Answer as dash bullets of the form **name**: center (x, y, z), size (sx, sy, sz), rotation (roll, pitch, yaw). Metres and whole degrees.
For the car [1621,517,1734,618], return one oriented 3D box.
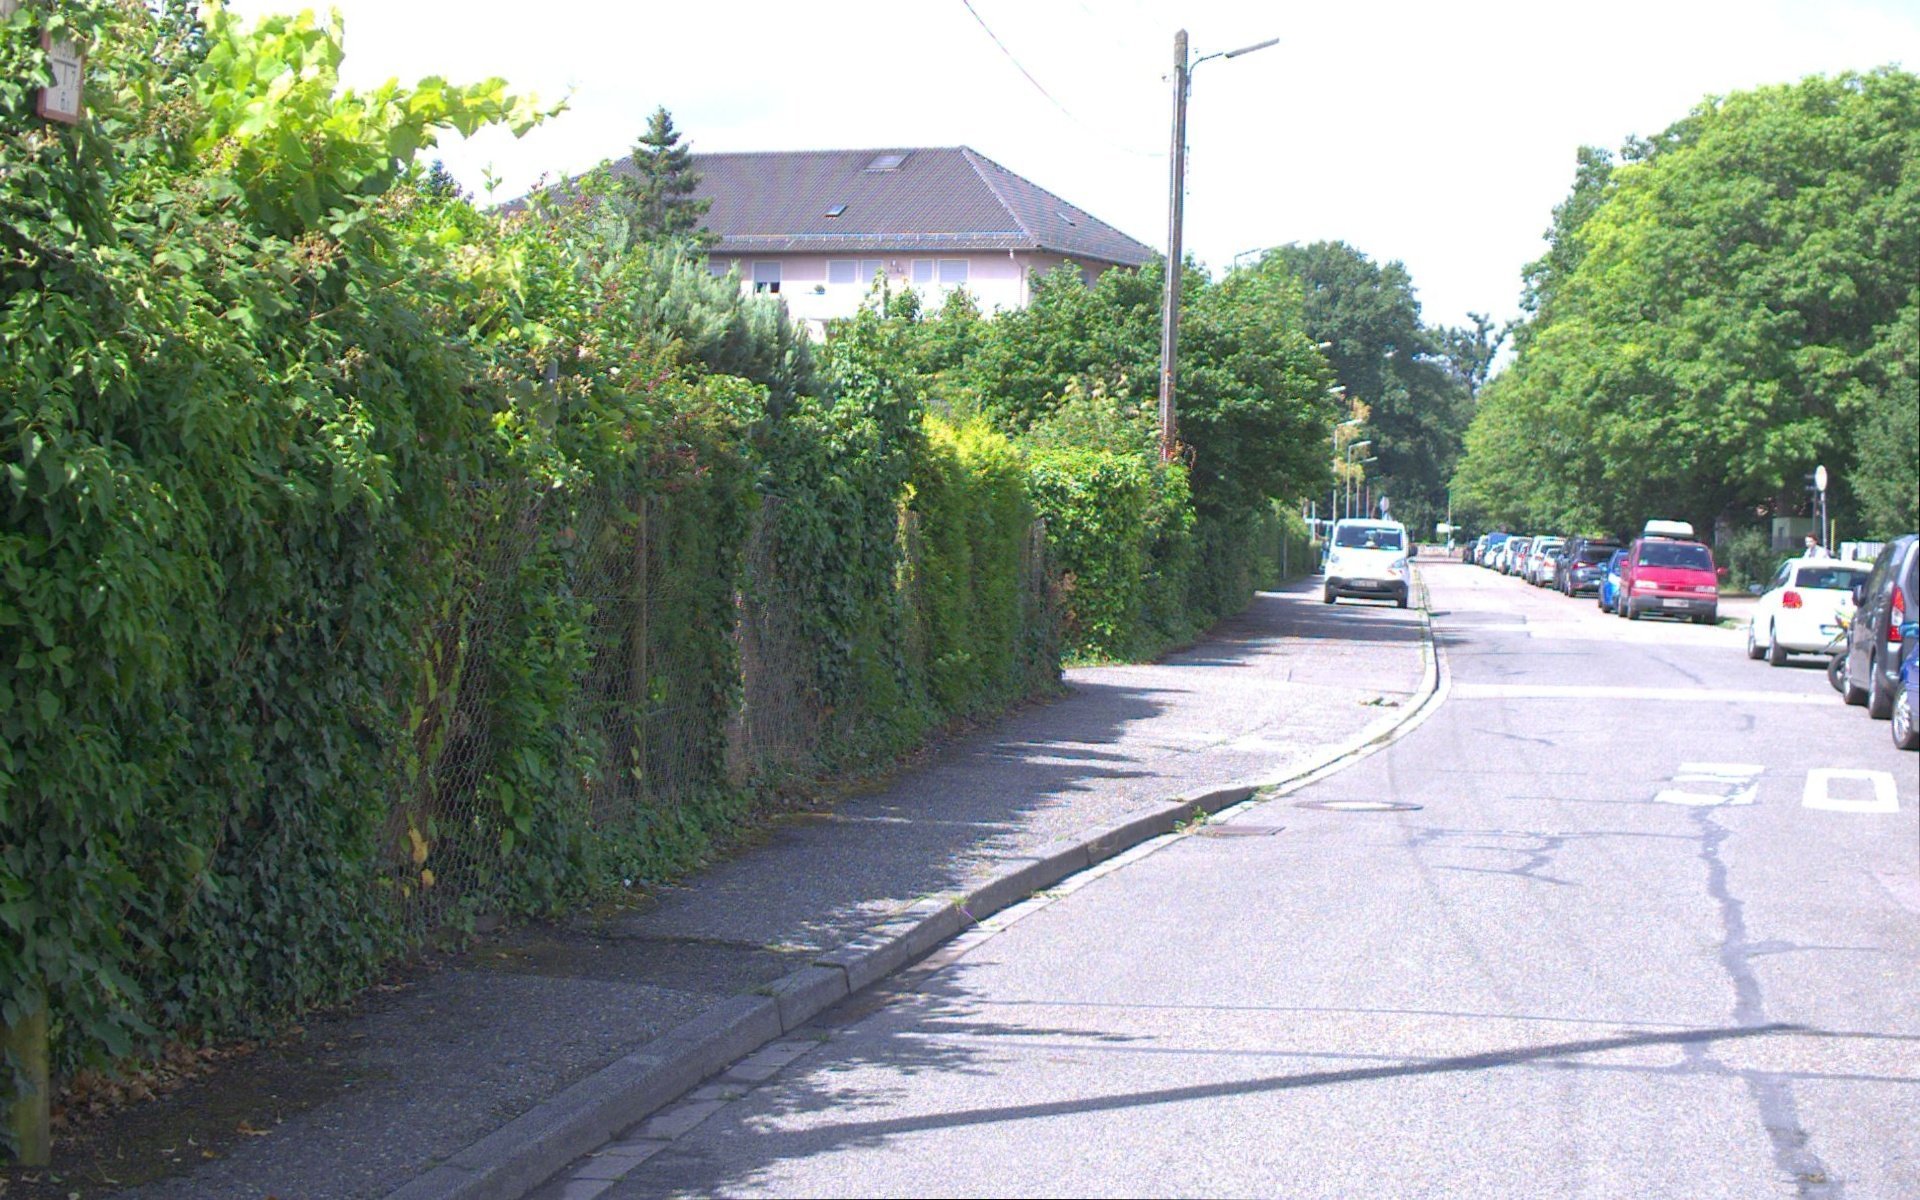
- **car**: center (14.906, -0.695, 71.577), size (2.059, 1.919, 4.539), rotation (4, 1, 10)

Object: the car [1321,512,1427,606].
- **car**: center (8.745, -0.868, 72.405), size (1.903, 1.808, 3.998), rotation (4, 1, 10)

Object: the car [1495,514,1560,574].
- **car**: center (20.025, -1.971, 121.202), size (2.059, 1.955, 4.539), rotation (4, 1, 10)

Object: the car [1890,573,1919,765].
- **car**: center (8.105, 0.574, 25.869), size (1.664, 1.430, 3.540), rotation (4, 1, 9)

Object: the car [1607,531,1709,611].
- **car**: center (15.866, -0.668, 78.306), size (2.059, 1.646, 4.539), rotation (4, 1, 10)

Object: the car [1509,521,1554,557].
- **car**: center (27.470, -2.921, 165.264), size (1.853, 1.612, 3.998), rotation (4, 1, 12)

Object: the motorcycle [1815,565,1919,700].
- **motorcycle**: center (9.963, 0.352, 36.789), size (1.428, 1.357, 0.869), rotation (4, 1, 9)

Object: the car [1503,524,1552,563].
- **car**: center (24.834, -2.478, 150.378), size (1.853, 1.612, 3.998), rotation (2, 1, 12)

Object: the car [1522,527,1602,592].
- **car**: center (16.800, -1.129, 95.956), size (2.059, 1.646, 4.539), rotation (4, 1, 10)

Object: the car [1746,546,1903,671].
- **car**: center (11.567, 0.075, 46.196), size (1.679, 1.514, 3.998), rotation (4, 1, 10)

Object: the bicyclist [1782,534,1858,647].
- **bicyclist**: center (13.986, -0.158, 55.894), size (0.787, 1.779, 0.892), rotation (4, 2, 40)

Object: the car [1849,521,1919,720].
- **car**: center (9.641, 0.210, 33.086), size (1.875, 1.800, 3.430), rotation (4, 1, 12)
